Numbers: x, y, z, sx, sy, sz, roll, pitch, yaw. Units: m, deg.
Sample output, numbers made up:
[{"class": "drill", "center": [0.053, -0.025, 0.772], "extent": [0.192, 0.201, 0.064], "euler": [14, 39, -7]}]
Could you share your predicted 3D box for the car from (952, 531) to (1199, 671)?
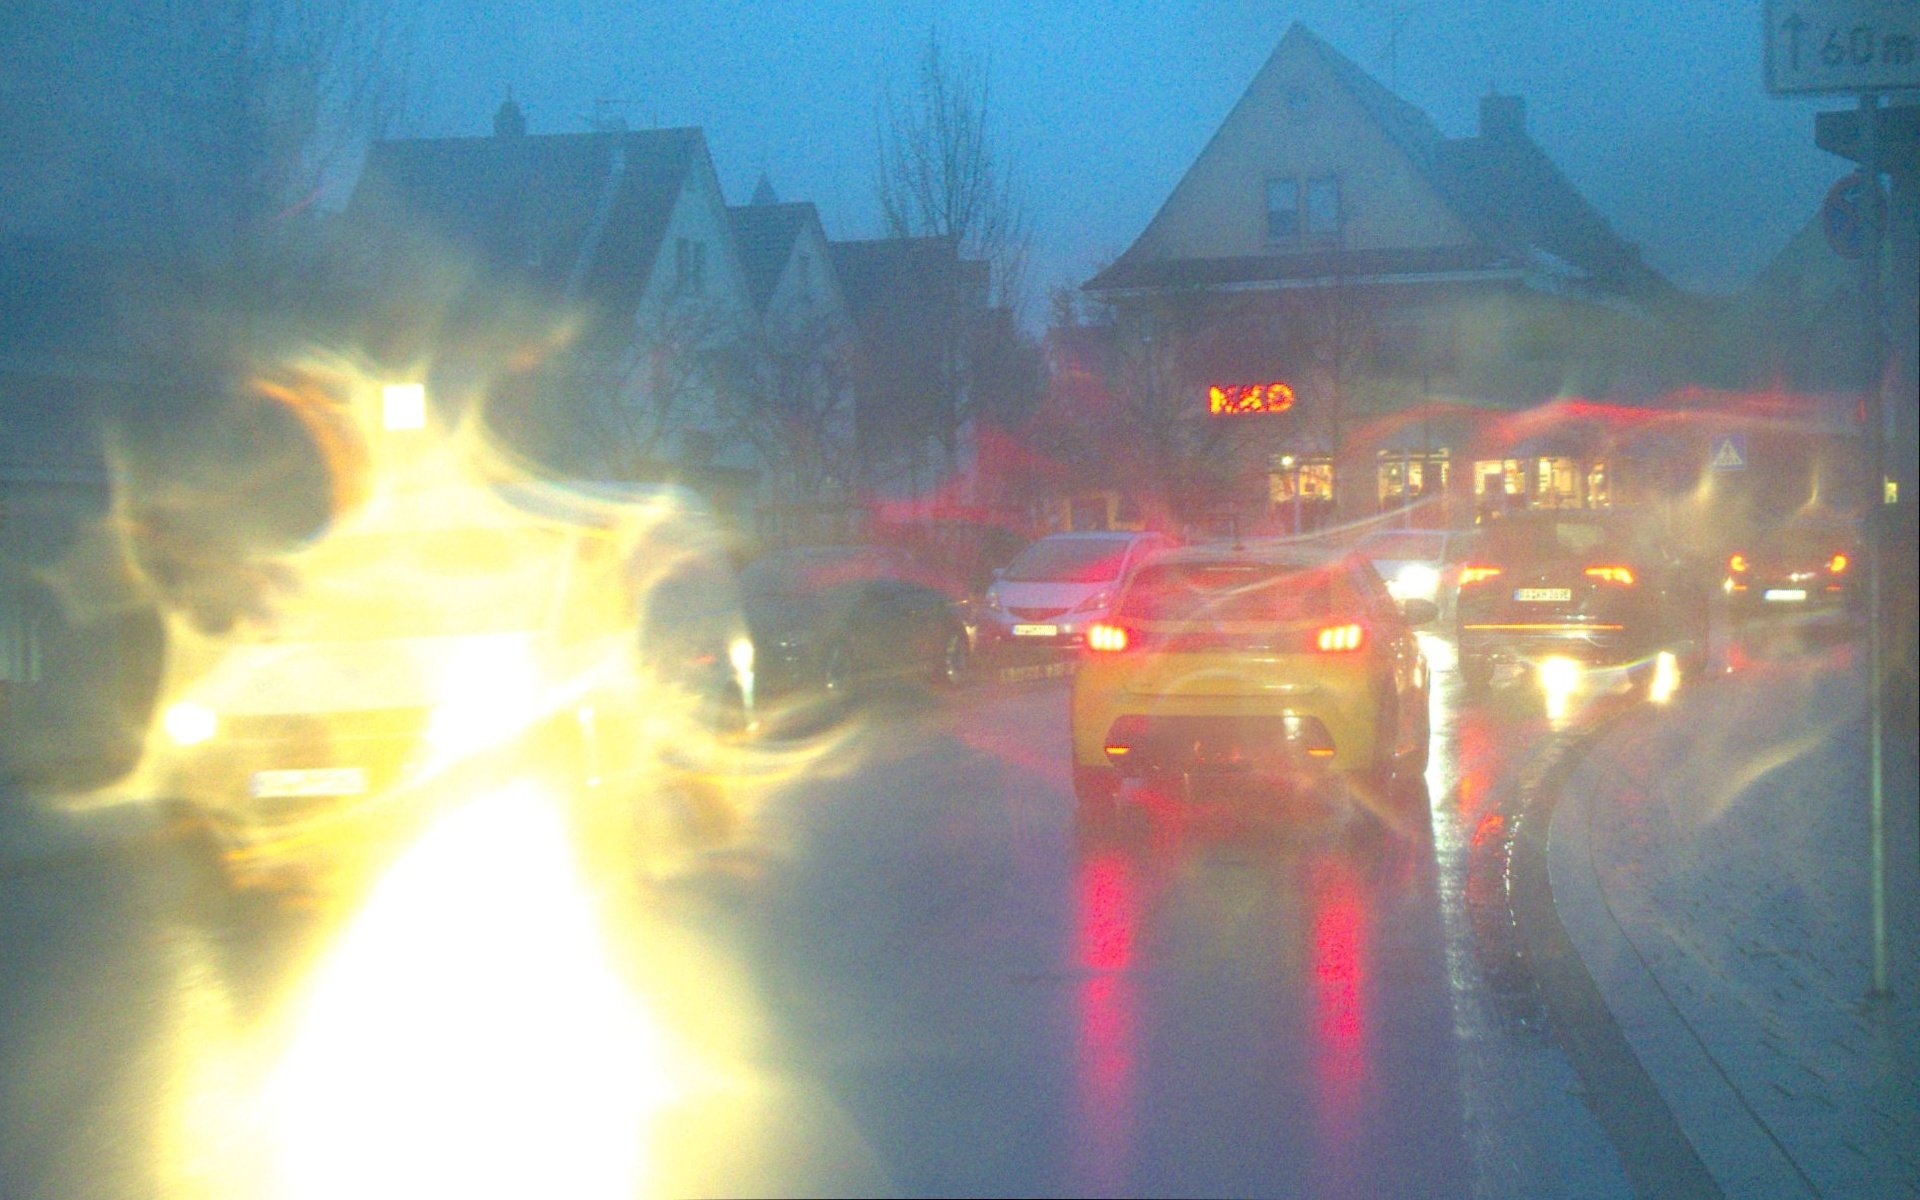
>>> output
[{"class": "car", "center": [1.377, -0.030, 39.381], "extent": [1.694, 1.511, 3.769], "euler": [1, 1, 21]}]

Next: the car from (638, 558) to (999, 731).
[{"class": "car", "center": [-1.252, 0.359, 32.614], "extent": [1.749, 1.467, 4.454], "euler": [0, 1, 22]}]

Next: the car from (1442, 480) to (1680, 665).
[{"class": "car", "center": [5.823, -0.279, 32.973], "extent": [1.799, 1.656, 3.997], "euler": [0, 1, 16]}]

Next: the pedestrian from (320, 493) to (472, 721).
[{"class": "pedestrian", "center": [-4.686, 0.051, 28.605], "extent": [0.754, 1.860, 1.059], "euler": [-1, 1, 24]}]

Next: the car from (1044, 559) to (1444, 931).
[{"class": "car", "center": [1.683, 0.718, 19.835], "extent": [1.994, 1.789, 4.647], "euler": [-1, 1, 6]}]

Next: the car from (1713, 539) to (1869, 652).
[{"class": "car", "center": [11.272, -0.087, 46.474], "extent": [1.651, 1.437, 3.863], "euler": [-1, 1, 19]}]

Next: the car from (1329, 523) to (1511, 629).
[{"class": "car", "center": [6.996, -0.402, 52.008], "extent": [1.672, 1.511, 3.995], "euler": [1, 2, 24]}]

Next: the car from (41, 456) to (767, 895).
[{"class": "car", "center": [-2.475, 0.273, 16.768], "extent": [1.946, 1.744, 4.849], "euler": [-3, 1, 10]}]
